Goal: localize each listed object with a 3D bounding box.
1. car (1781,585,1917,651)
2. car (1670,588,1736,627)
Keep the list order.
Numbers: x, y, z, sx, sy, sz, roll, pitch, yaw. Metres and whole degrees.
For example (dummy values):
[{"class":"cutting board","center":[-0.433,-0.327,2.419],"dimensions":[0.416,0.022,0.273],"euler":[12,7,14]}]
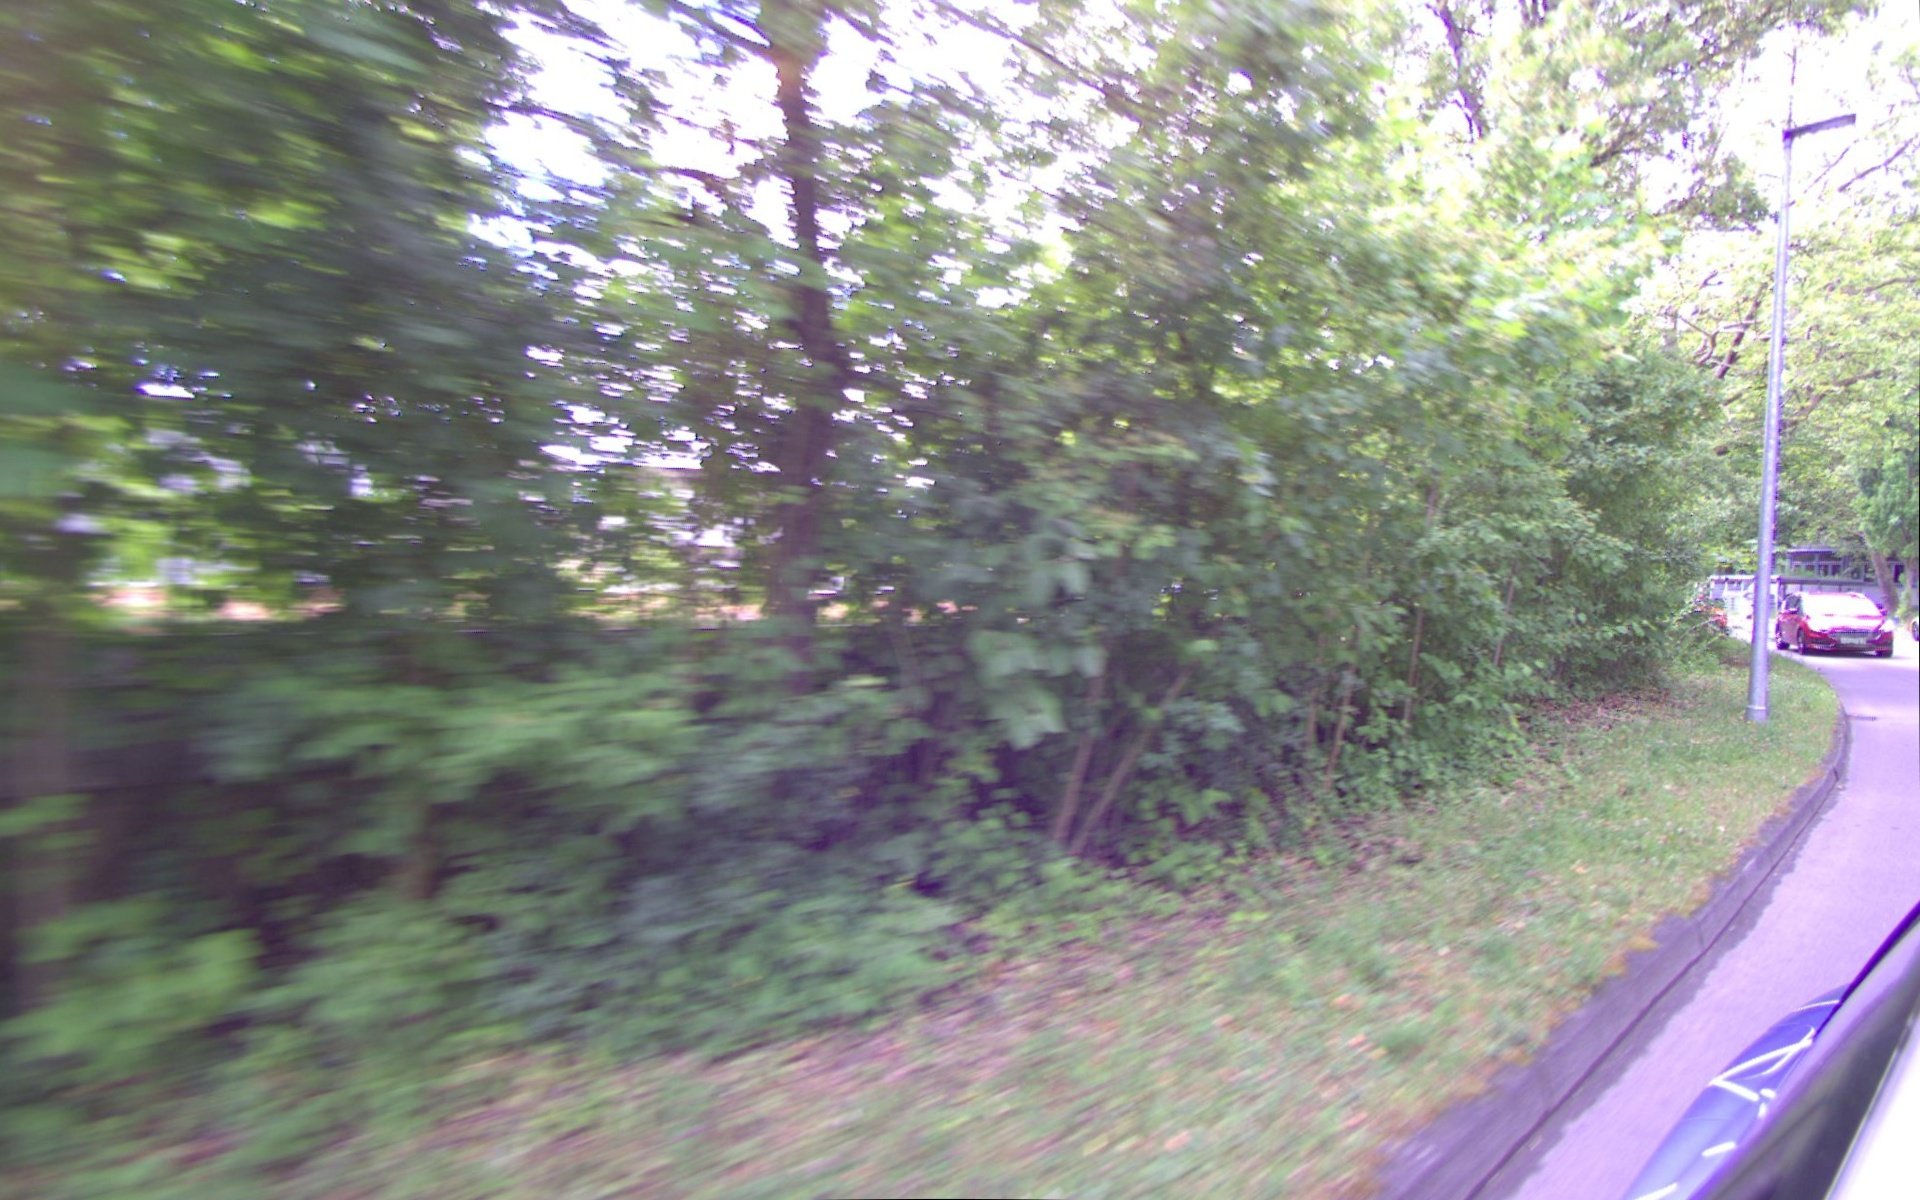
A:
[{"class":"car","center":[23.767,0.408,27.235],"dimensions":[1.930,1.578,4.310],"euler":[0,1,30]},{"class":"car","center":[31.691,0.285,43.280],"dimensions":[1.934,1.551,4.040],"euler":[0,1,32]}]
